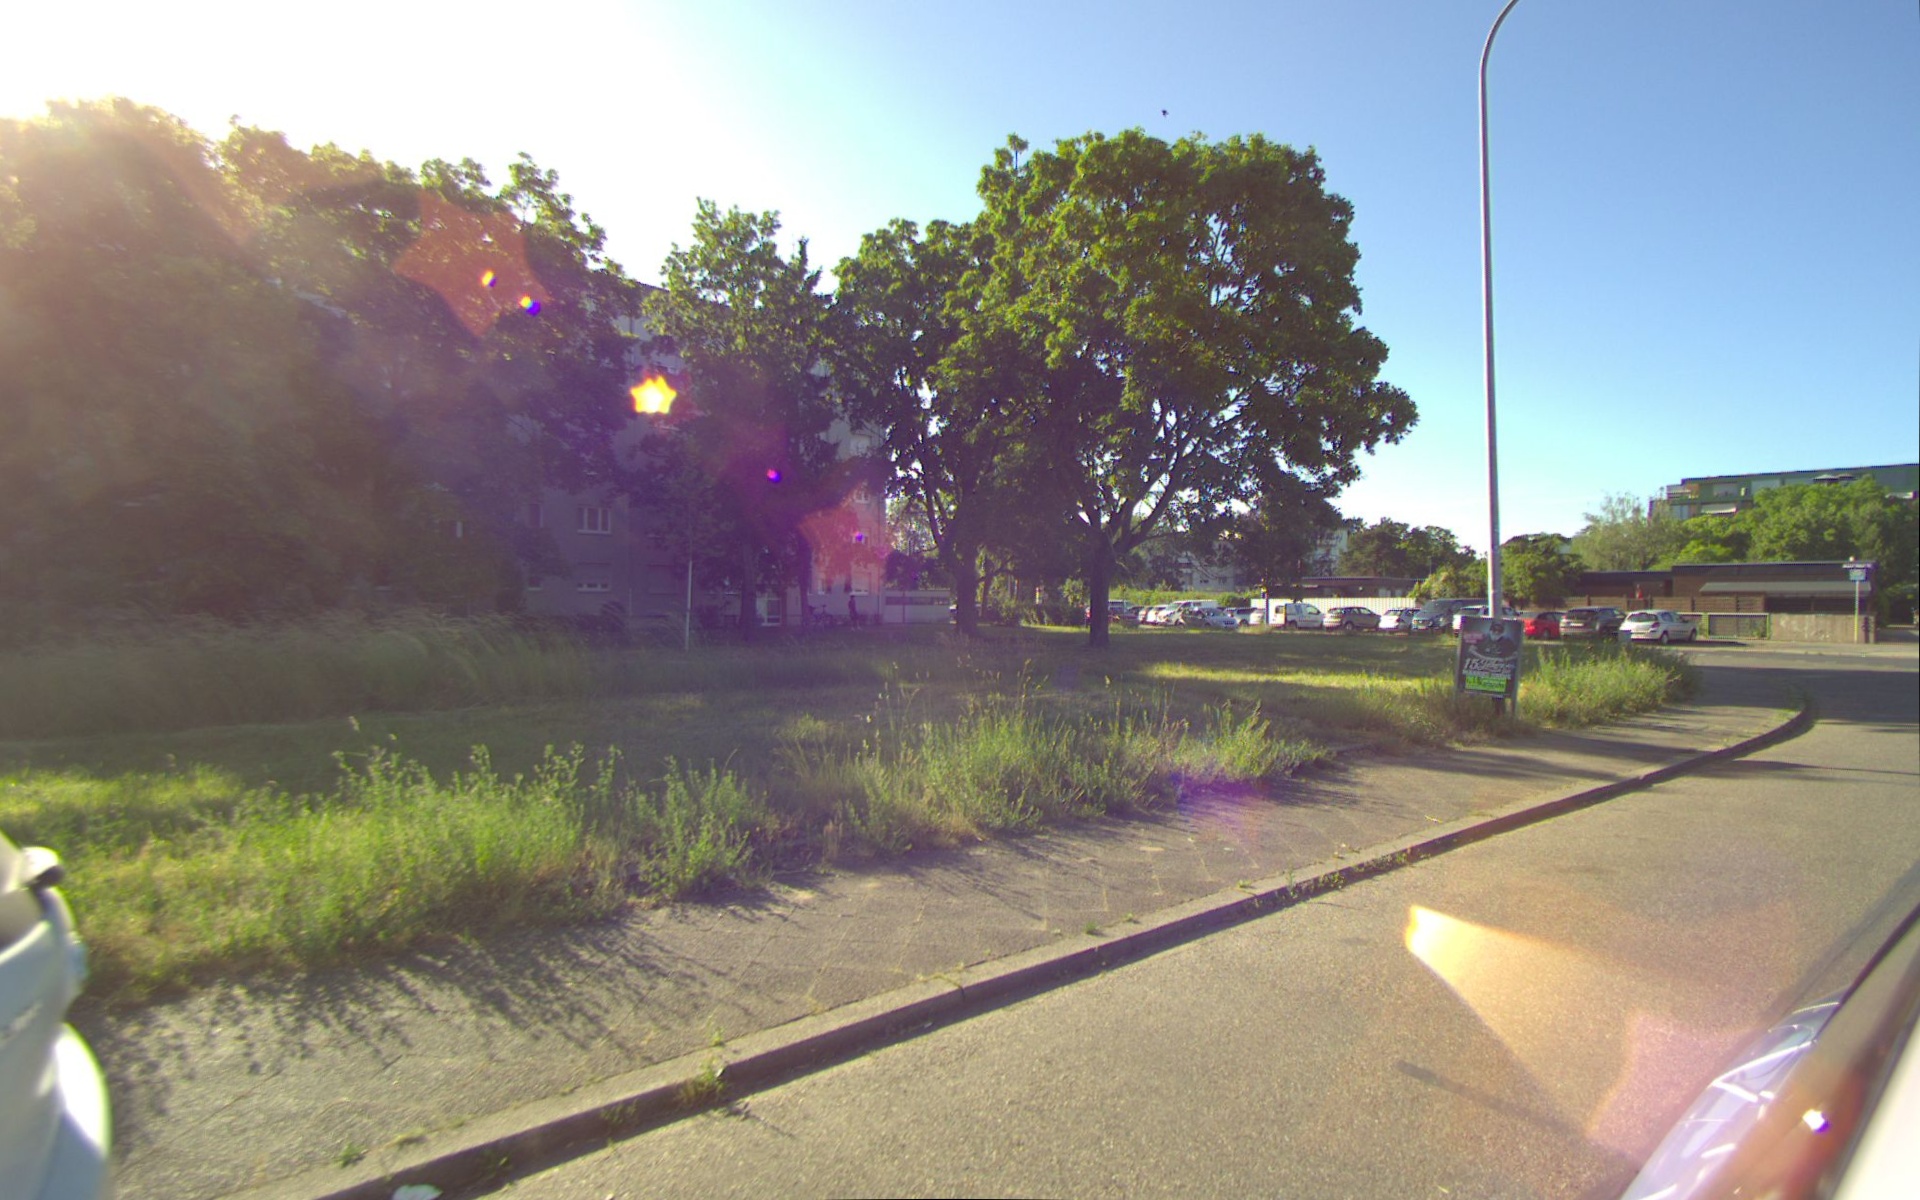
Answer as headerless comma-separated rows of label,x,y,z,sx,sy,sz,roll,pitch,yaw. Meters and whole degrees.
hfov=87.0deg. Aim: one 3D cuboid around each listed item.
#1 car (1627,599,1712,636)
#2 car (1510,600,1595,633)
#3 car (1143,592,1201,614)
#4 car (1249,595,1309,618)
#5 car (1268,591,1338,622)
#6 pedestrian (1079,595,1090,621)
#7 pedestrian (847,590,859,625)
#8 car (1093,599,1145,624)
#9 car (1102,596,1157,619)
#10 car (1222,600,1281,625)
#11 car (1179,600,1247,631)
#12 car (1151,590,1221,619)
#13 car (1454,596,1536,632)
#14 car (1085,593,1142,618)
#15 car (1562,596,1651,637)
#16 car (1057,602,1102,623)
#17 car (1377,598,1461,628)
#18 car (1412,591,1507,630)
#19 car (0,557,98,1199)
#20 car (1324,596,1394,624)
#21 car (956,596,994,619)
car,30.922,0.721,44.107,3.625,1.477,1.636,-1,1,-30
car,28.591,0.774,48.870,3.549,1.361,1.736,-2,1,-23
car,16.566,0.218,79.118,3.916,1.602,1.888,-2,1,-16
car,21.031,0.437,66.761,3.451,1.508,1.731,0,0,-22
car,21.840,0.413,64.491,3.908,1.803,1.929,-2,0,-23
pedestrian,7.697,0.493,62.727,0.473,1.584,0.598,2,0,-10
pedestrian,-5.283,0.365,49.918,0.481,1.683,0.537,-2,1,-10
car,10.173,0.699,65.044,1.547,1.464,3.796,-1,1,-22
car,14.187,0.576,84.850,4.078,1.727,1.888,-2,1,-15
car,19.798,0.851,68.813,3.451,1.507,1.640,-2,1,-17
car,13.795,0.833,55.350,1.700,1.562,3.796,-1,1,-22
car,17.029,0.303,76.169,4.704,1.944,2.086,-2,1,-21
car,26.849,0.688,50.814,3.549,1.627,1.736,-2,1,-23
car,13.204,0.438,87.172,4.399,2.001,2.004,-2,1,-17
car,29.618,0.724,46.365,3.921,1.632,1.820,-2,1,-30
car,8.472,0.864,71.835,1.618,1.420,3.890,1,0,-19
car,25.369,0.691,55.943,4.064,1.511,1.929,-2,1,-21
car,26.378,0.521,53.418,4.787,1.939,2.003,-1,0,-26
car,-2.845,0.745,0.493,3.675,1.498,1.724,-1,-1,-41
car,23.728,0.586,60.246,3.747,1.551,1.792,-1,1,-25
car,1.068,0.525,74.194,1.697,1.616,3.820,-1,0,-15
